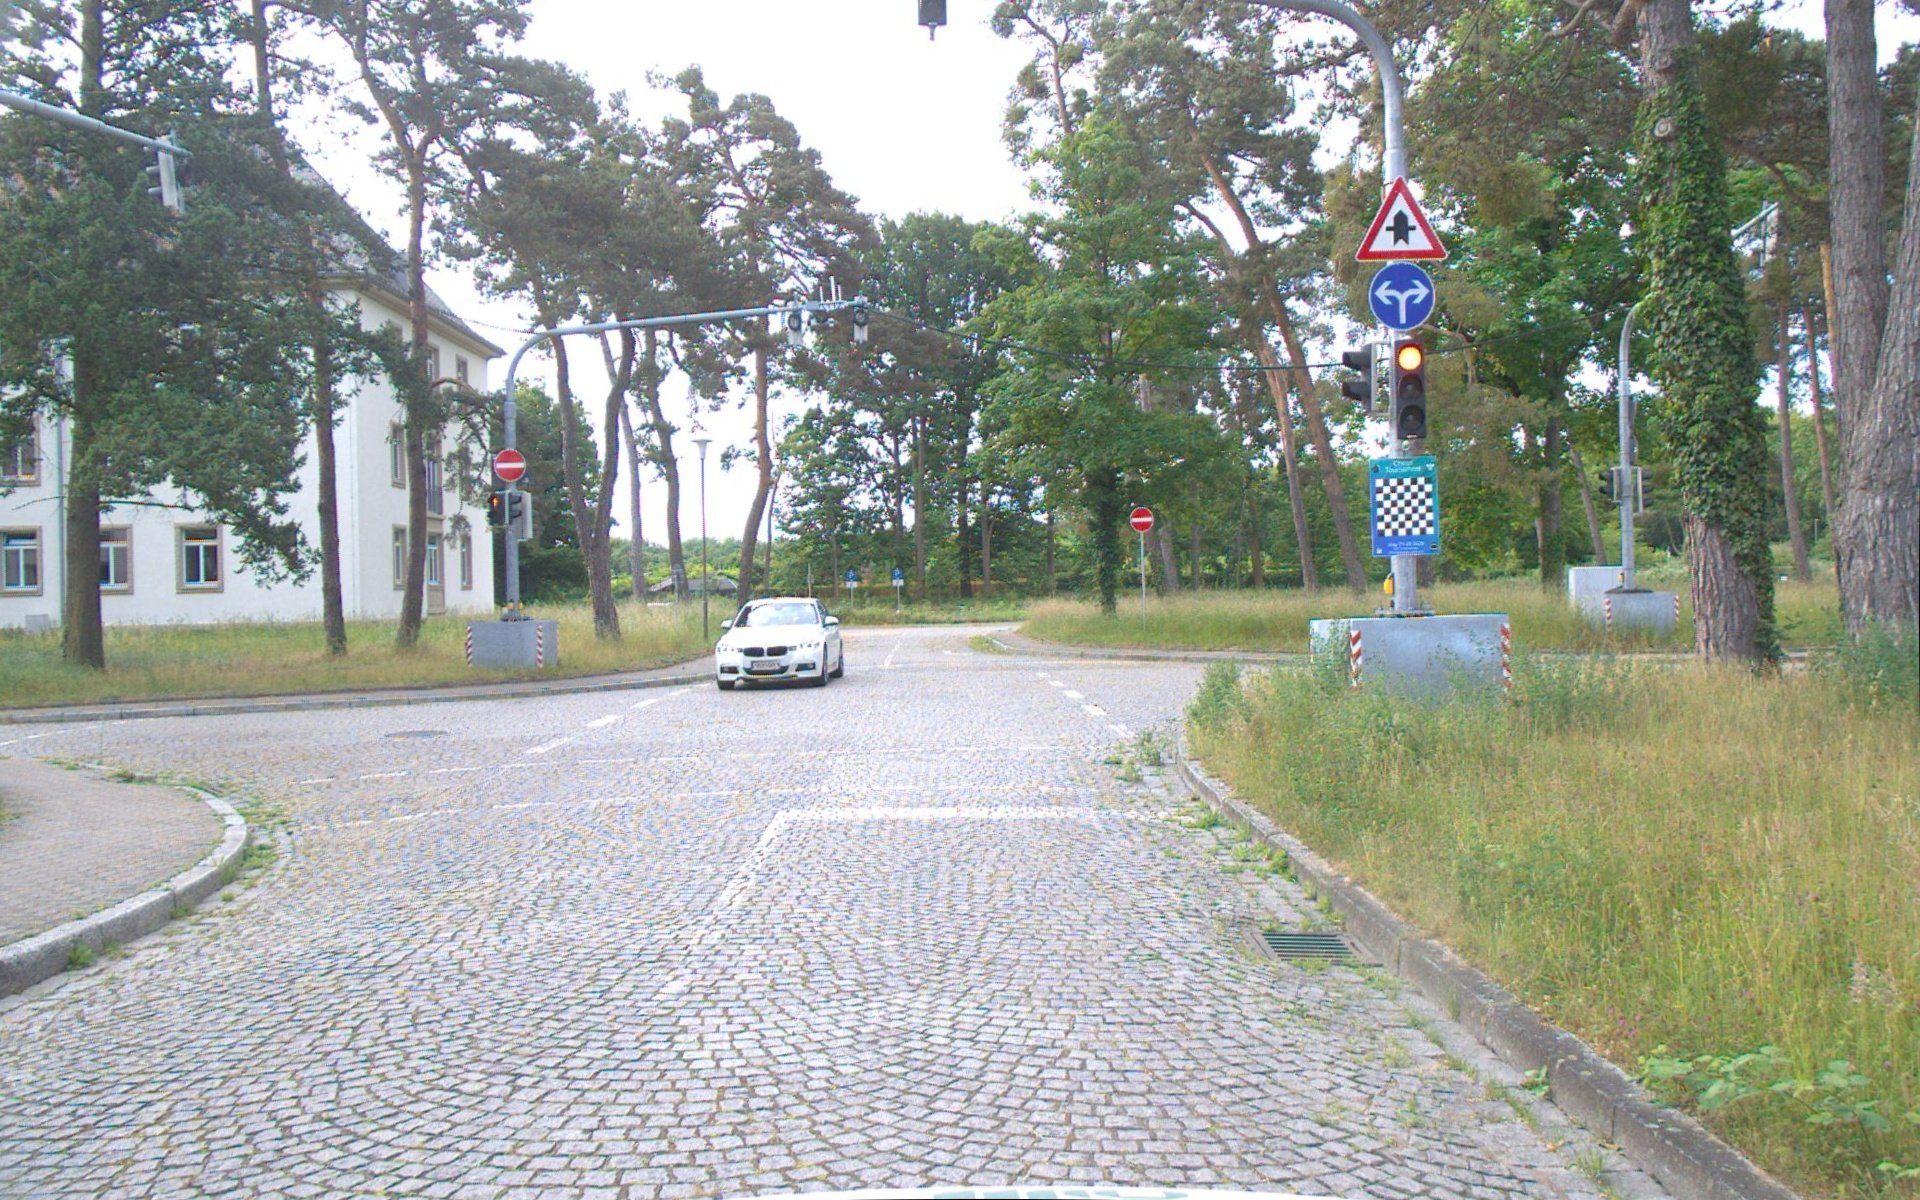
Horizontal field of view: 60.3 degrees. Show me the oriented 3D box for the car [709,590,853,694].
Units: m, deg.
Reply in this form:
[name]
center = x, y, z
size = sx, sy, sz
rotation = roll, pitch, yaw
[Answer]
[car]
center = -2.931, 0.648, 27.937
size = 1.737, 1.463, 4.219
rotation = -4, 1, 2
